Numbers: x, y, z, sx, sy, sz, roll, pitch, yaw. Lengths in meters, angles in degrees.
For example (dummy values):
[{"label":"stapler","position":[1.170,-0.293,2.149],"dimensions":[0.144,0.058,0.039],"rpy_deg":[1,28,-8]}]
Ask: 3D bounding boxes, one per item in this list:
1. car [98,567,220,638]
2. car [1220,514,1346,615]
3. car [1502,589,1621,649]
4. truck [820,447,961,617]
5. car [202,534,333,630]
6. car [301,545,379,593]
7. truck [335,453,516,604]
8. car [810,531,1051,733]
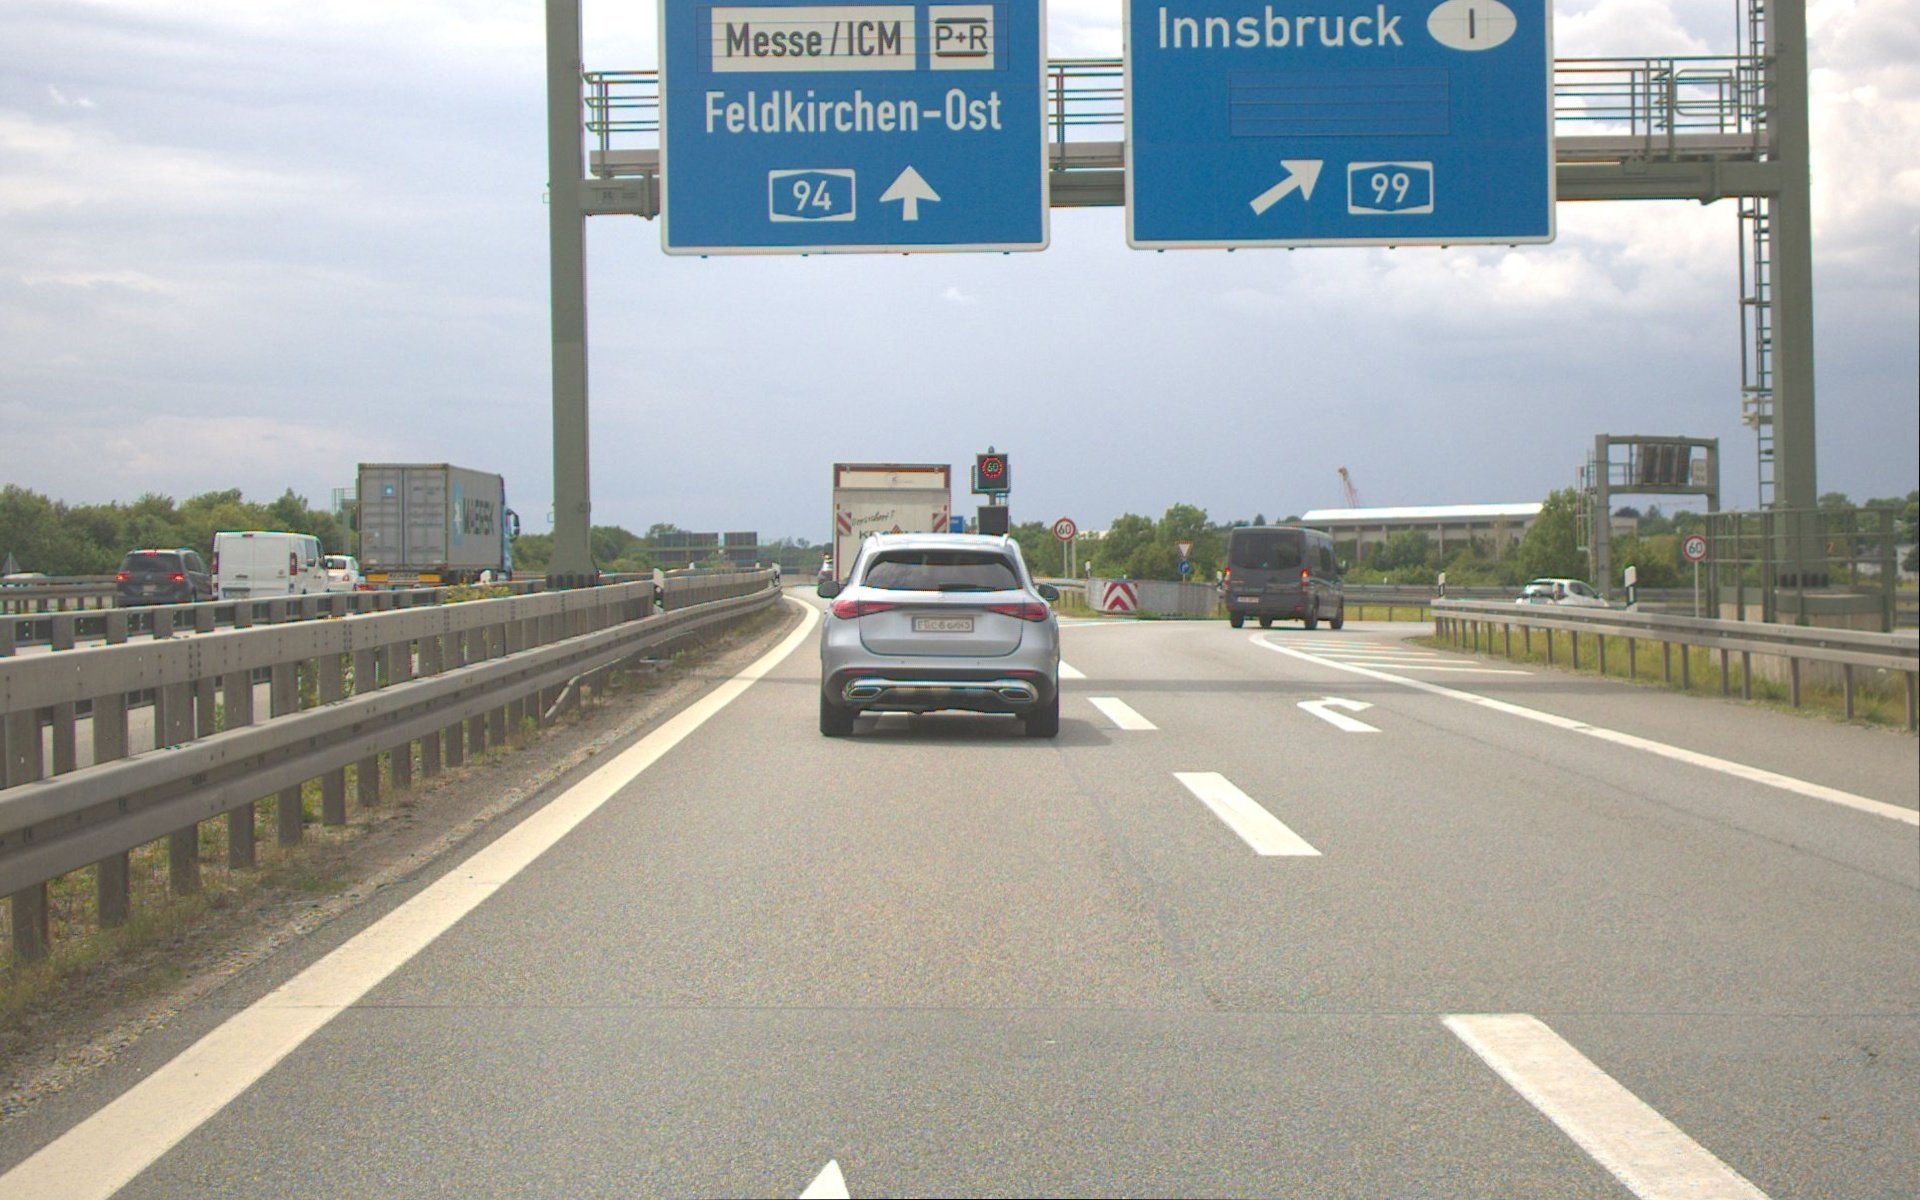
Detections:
[{"label":"car","position":[-19.039,0.034,81.888],"dimensions":[1.881,1.541,4.615],"rpy_deg":[1,1,-1]},{"label":"car","position":[7.527,-0.841,79.791],"dimensions":[1.908,2.254,4.645],"rpy_deg":[1,1,18]},{"label":"car","position":[18.344,0.560,104.725],"dimensions":[1.998,1.703,3.992],"rpy_deg":[2,2,36]},{"label":"truck","position":[-1.337,-1.271,68.095],"dimensions":[2.569,3.115,8.634],"rpy_deg":[1,0,-1]},{"label":"car","position":[-15.108,-0.425,75.176],"dimensions":[1.993,2.007,4.375],"rpy_deg":[1,1,0]},{"label":"car","position":[-19.360,-0.997,107.484],"dimensions":[1.797,1.415,4.001],"rpy_deg":[1,1,-1]},{"label":"truck","position":[-15.395,-2.102,100.380],"dimensions":[3.183,4.005,16.077],"rpy_deg":[1,1,-2]},{"label":"car","position":[-0.240,0.205,28.271],"dimensions":[1.819,1.509,4.000],"rpy_deg":[1,1,0]}]
